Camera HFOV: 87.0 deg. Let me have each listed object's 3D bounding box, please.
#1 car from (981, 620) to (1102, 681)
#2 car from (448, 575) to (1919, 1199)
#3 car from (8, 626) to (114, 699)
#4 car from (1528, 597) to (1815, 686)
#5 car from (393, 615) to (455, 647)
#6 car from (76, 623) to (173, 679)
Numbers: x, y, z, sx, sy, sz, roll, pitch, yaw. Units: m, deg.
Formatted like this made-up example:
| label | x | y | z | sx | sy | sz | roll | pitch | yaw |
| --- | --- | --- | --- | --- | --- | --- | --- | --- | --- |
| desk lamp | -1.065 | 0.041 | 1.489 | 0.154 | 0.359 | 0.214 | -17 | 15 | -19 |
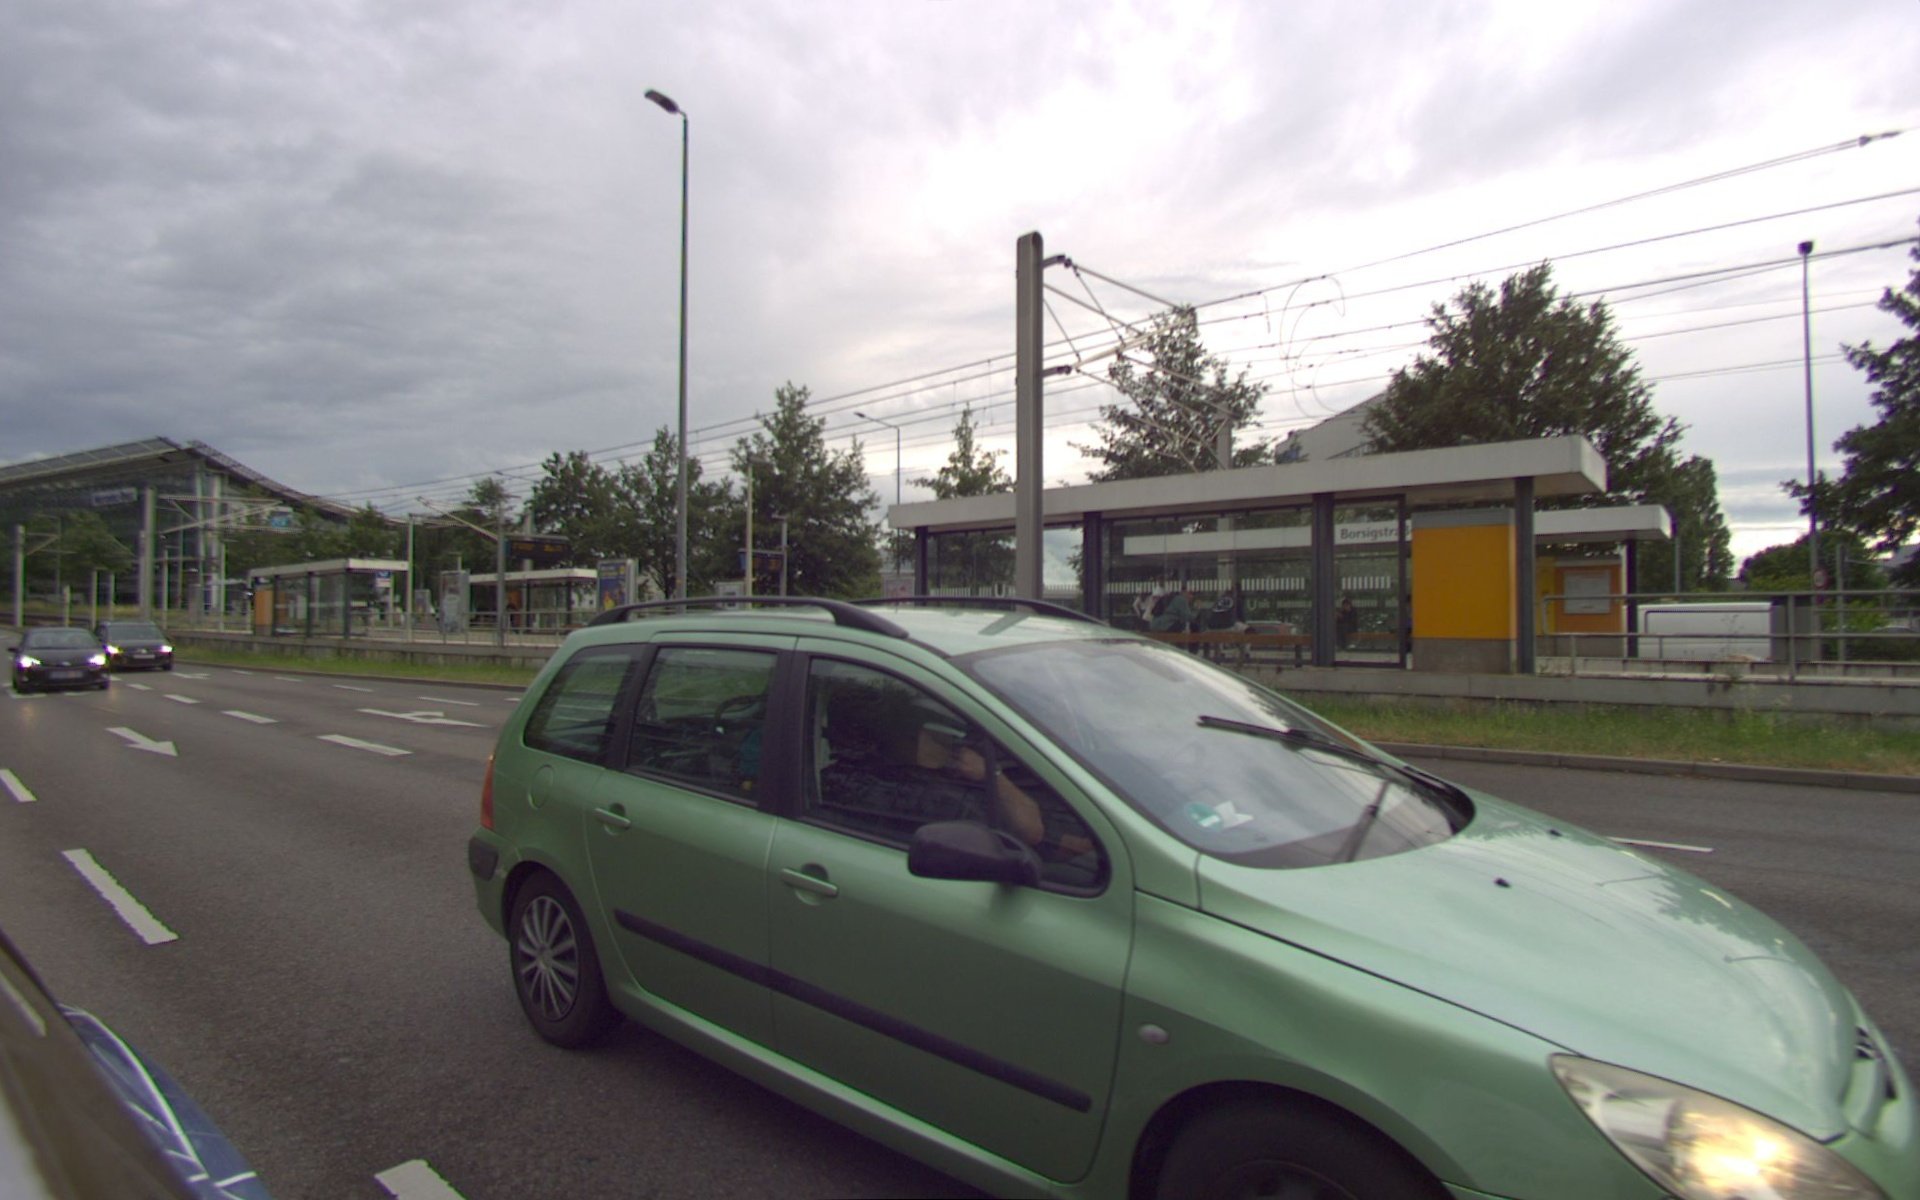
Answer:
| label | x | y | z | sx | sy | sz | roll | pitch | yaw |
| --- | --- | --- | --- | --- | --- | --- | --- | --- | --- |
| car | 2.952 | 1.776 | 37.018 | 3.996 | 2.029 | 1.974 | -1 | 0 | 40 |
| car | 0.241 | 0.716 | 3.061 | 4.401 | 1.479 | 1.677 | -1 | 0 | 41 |
| car | -21.859 | 1.451 | 24.550 | 3.906 | 1.534 | 1.674 | -1 | 0 | 45 |
| car | 15.625 | 0.842 | 22.490 | 5.023 | 1.744 | 1.975 | -1 | 0 | 38 |
| car | -33.198 | 1.916 | 62.670 | 3.995 | 1.861 | 1.974 | -1 | 0 | 38 |
| car | -26.997 | 1.592 | 32.658 | 4.189 | 1.604 | 1.709 | -1 | 0 | 40 |
